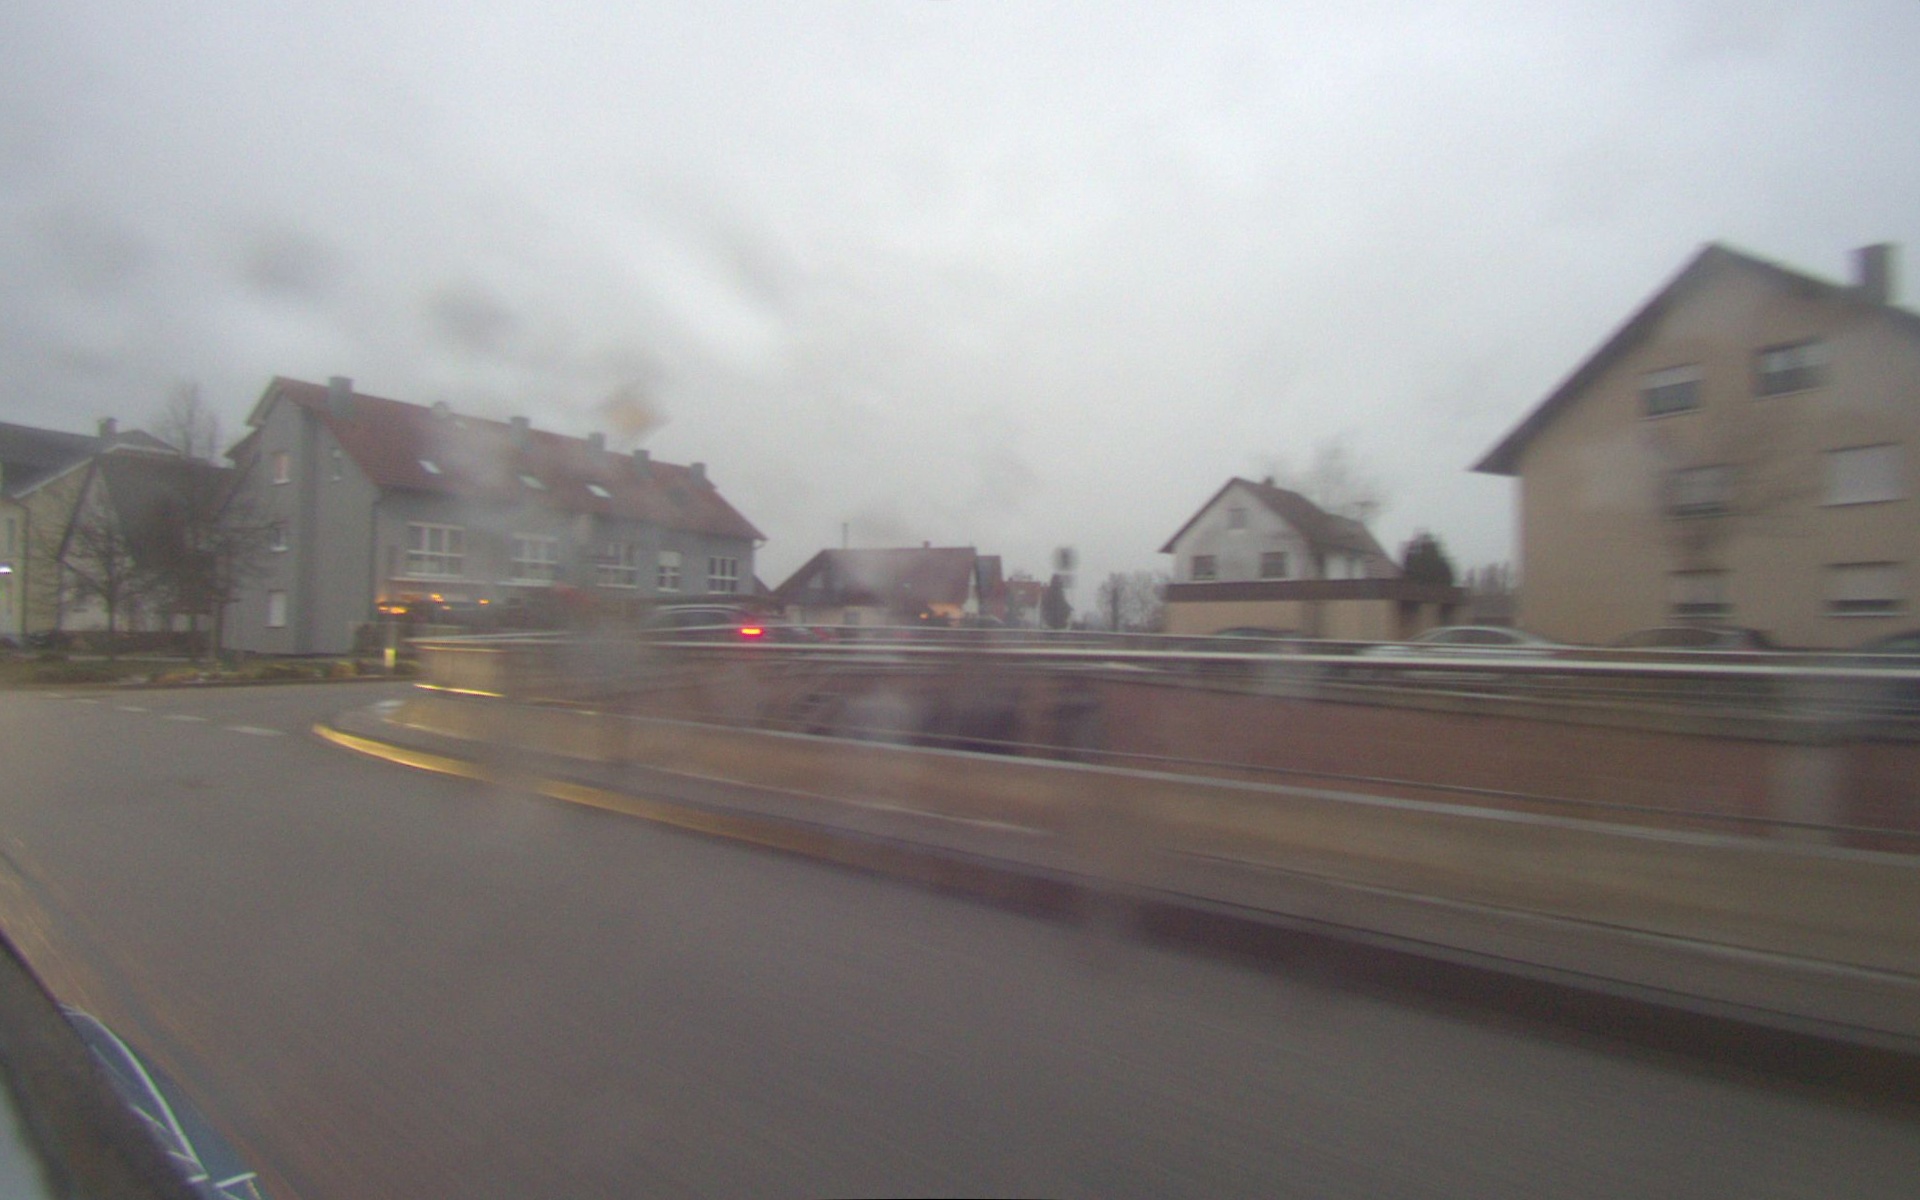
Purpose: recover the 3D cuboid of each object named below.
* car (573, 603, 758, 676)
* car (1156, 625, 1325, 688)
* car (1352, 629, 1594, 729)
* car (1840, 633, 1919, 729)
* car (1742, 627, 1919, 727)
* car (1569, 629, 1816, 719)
[{"bbox_3d":[-7.402,0.947,25.365,4.271,1.633,2.006,-1,-1,-21],"label":"car"},{"bbox_3d":[7.099,1.380,25.805,3.833,1.425,1.658,-1,0,42],"label":"car"},{"bbox_3d":[11.169,1.642,22.177,4.355,1.919,1.973,-2,-1,41],"label":"car"},{"bbox_3d":[18.425,1.445,18.030,1.790,1.660,4.002,0,-1,-45],"label":"car"},{"bbox_3d":[15.875,1.265,17.052,1.874,1.529,4.004,-1,0,-43],"label":"car"},{"bbox_3d":[15.302,1.471,21.265,4.000,1.660,1.815,-2,-1,43],"label":"car"}]
